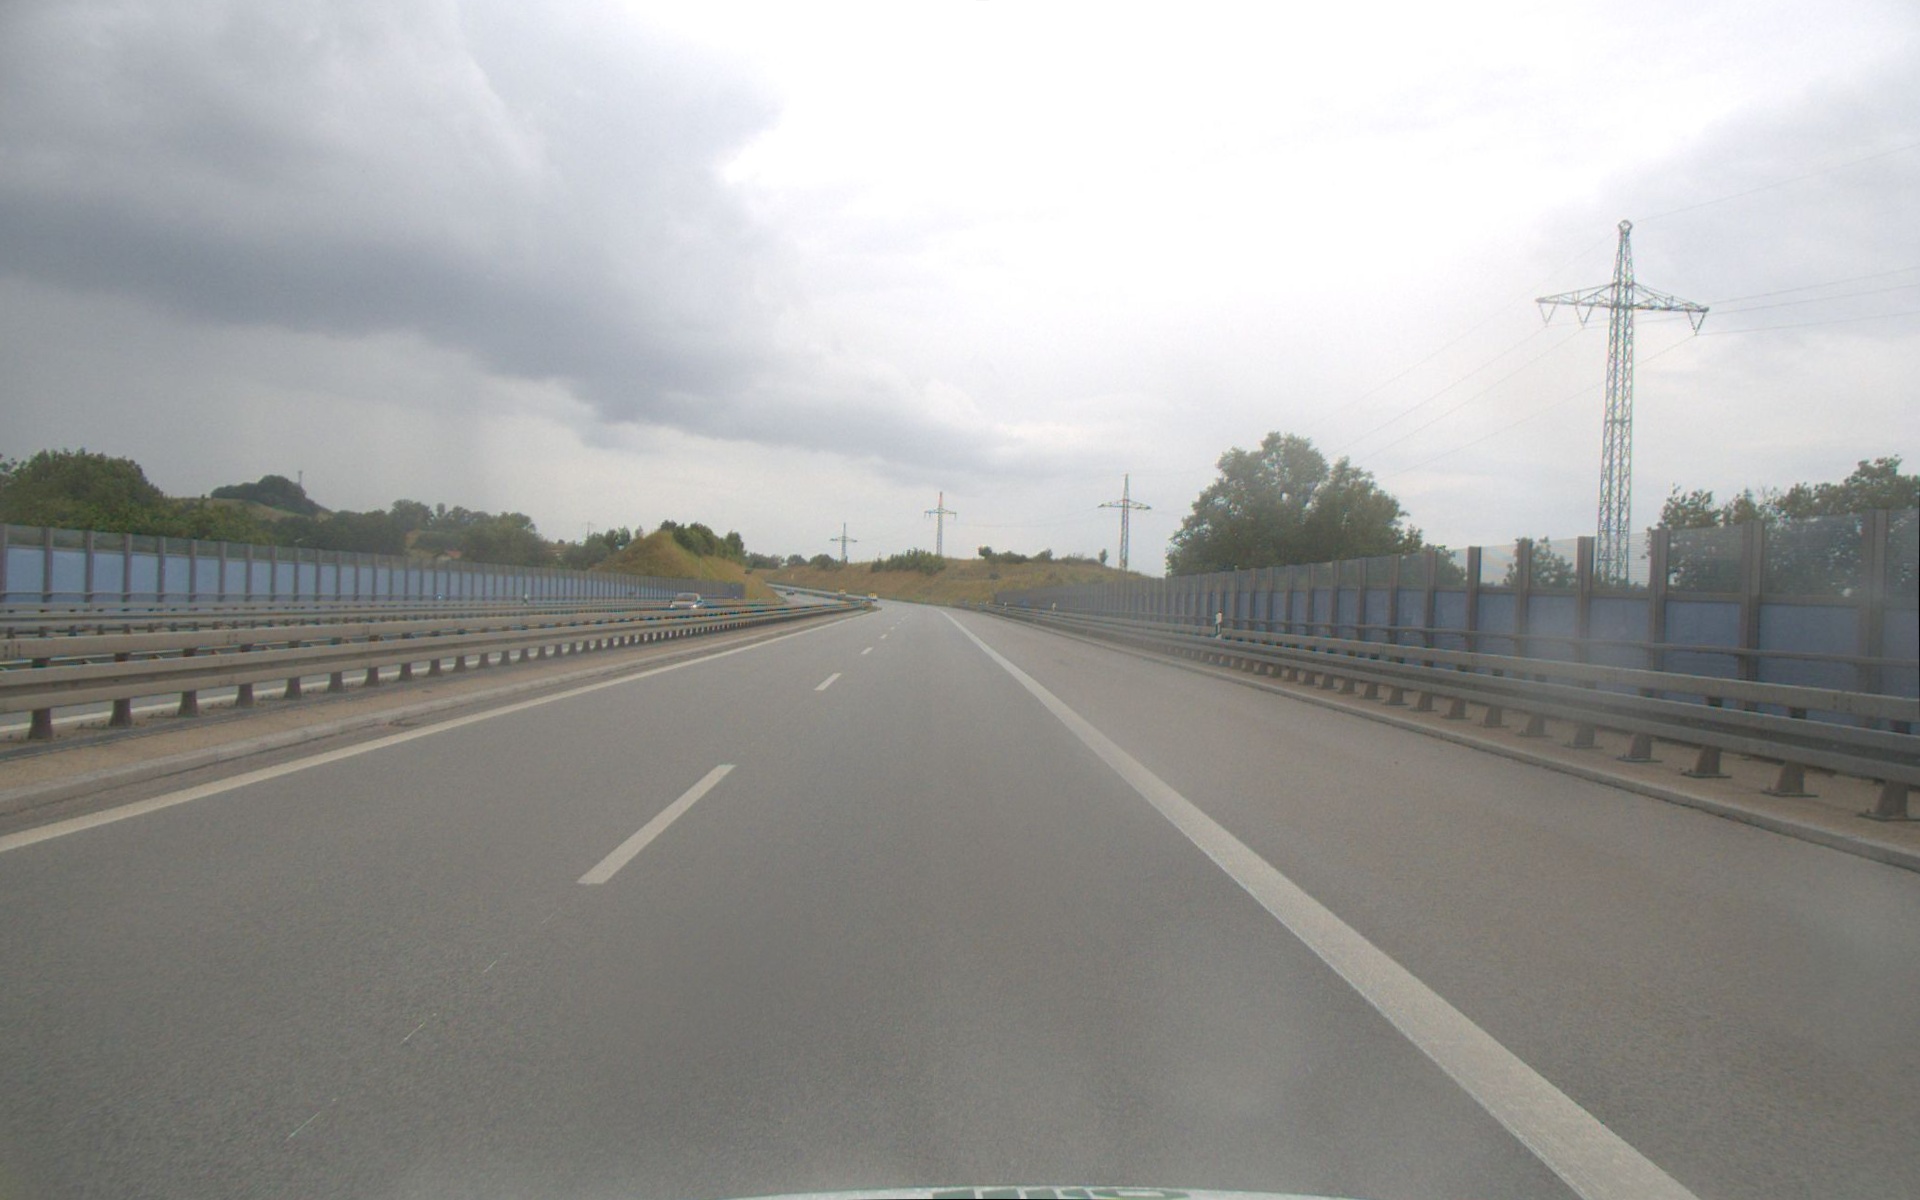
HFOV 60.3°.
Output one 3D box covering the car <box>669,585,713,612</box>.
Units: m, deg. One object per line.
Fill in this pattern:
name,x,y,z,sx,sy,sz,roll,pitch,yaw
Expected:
car,-15.936,-0.100,98.335,1.953,1.541,4.286,1,0,-1
